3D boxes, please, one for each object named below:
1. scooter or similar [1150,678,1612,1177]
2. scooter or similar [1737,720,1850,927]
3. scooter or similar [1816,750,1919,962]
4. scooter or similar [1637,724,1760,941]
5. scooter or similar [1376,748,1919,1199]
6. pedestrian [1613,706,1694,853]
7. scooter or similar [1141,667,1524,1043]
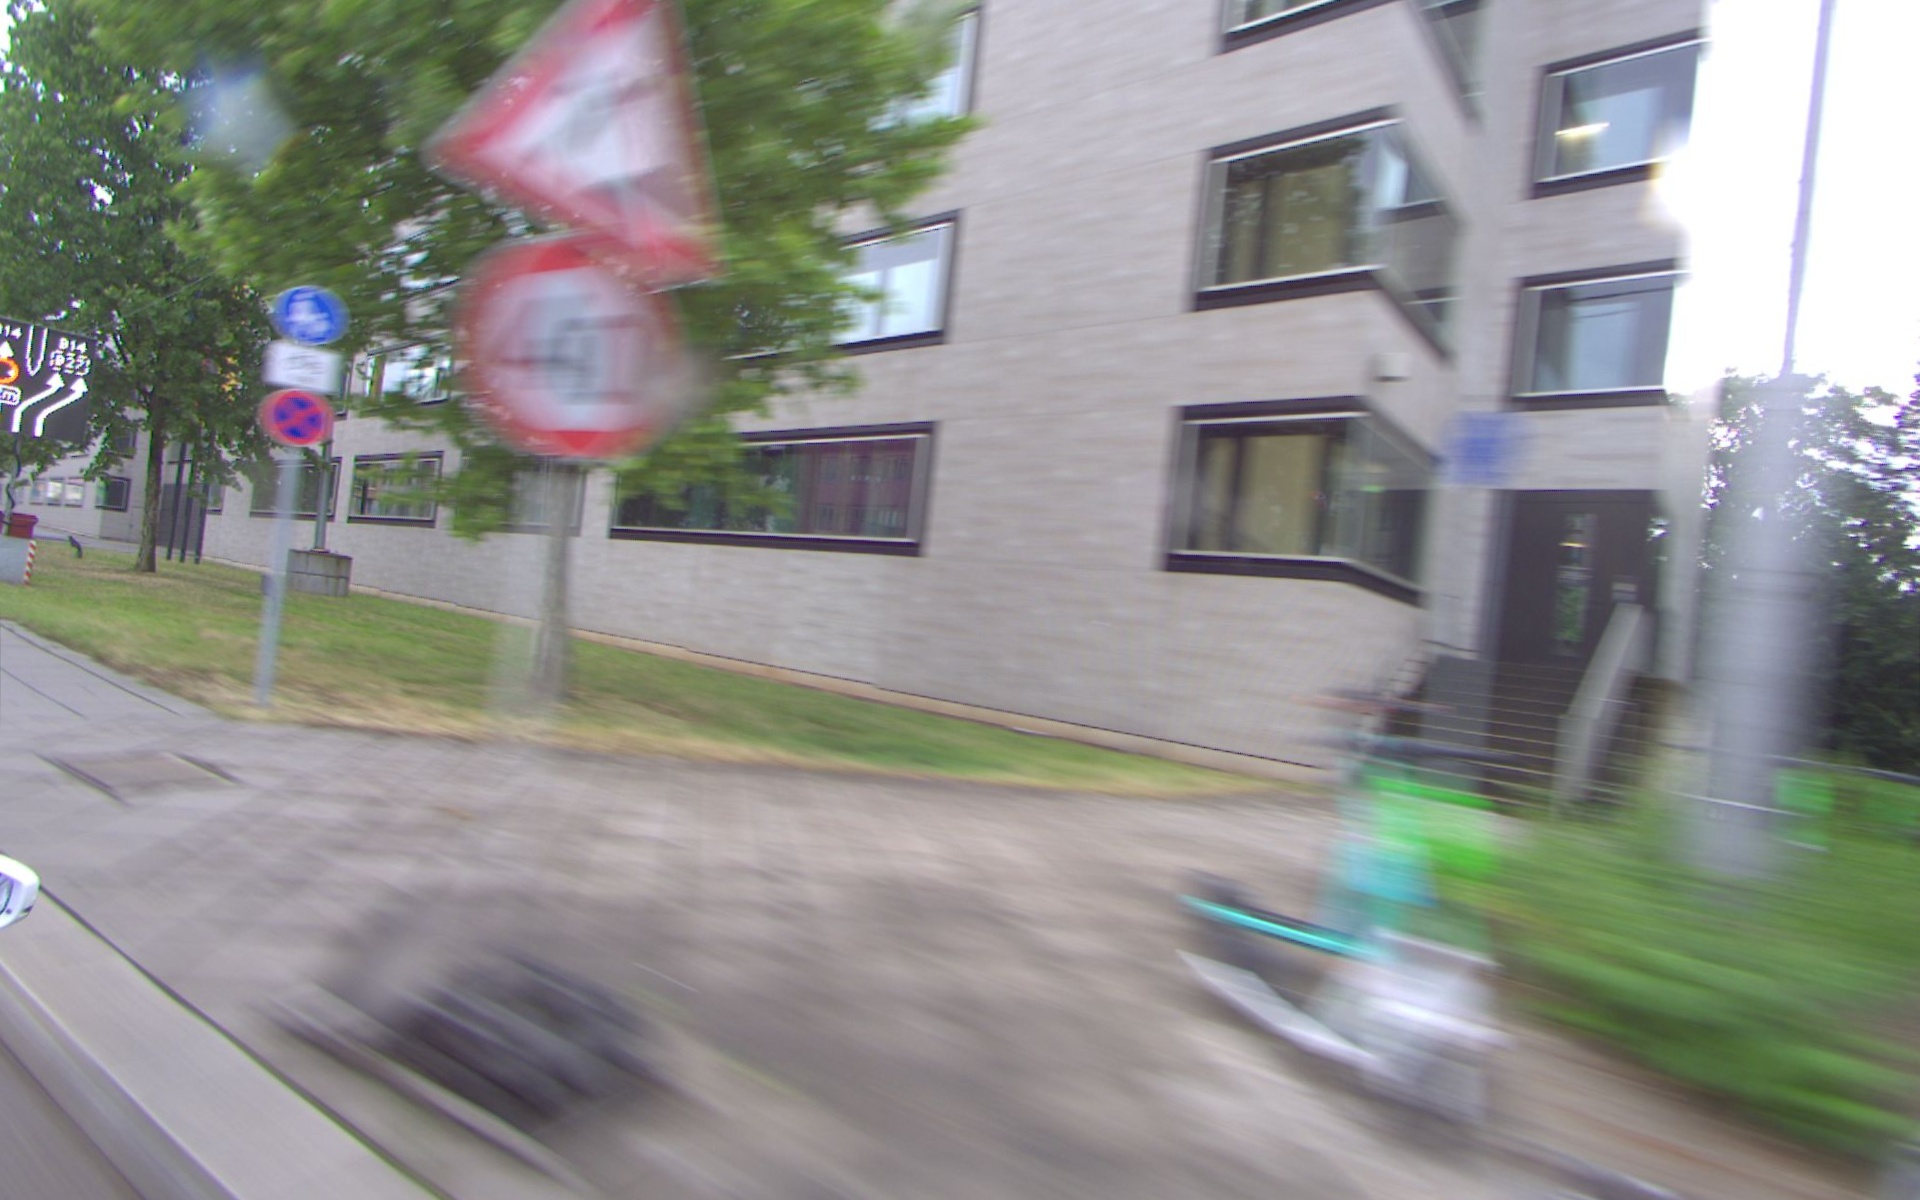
[{"bbox_3d":[1.274,0.949,3.365,0.678,1.215,1.336,6,-1,-12],"label":"scooter or similar"},{"bbox_3d":[6.137,1.590,7.452,0.465,1.328,1.237,6,-1,37],"label":"scooter or similar"},{"bbox_3d":[6.782,1.833,7.463,0.465,1.328,1.237,6,-1,37],"label":"scooter or similar"},{"bbox_3d":[5.310,1.602,7.247,0.546,1.328,1.237,6,-1,37],"label":"scooter or similar"},{"bbox_3d":[1.897,1.046,2.300,1.563,1.142,0.637,6,0,14],"label":"scooter or similar"},{"bbox_3d":[7.101,1.812,10.302,0.530,1.389,0.478,6,0,39],"label":"pedestrian"},{"bbox_3d":[1.534,0.977,4.287,0.561,1.215,1.309,6,-1,-43],"label":"scooter or similar"}]
